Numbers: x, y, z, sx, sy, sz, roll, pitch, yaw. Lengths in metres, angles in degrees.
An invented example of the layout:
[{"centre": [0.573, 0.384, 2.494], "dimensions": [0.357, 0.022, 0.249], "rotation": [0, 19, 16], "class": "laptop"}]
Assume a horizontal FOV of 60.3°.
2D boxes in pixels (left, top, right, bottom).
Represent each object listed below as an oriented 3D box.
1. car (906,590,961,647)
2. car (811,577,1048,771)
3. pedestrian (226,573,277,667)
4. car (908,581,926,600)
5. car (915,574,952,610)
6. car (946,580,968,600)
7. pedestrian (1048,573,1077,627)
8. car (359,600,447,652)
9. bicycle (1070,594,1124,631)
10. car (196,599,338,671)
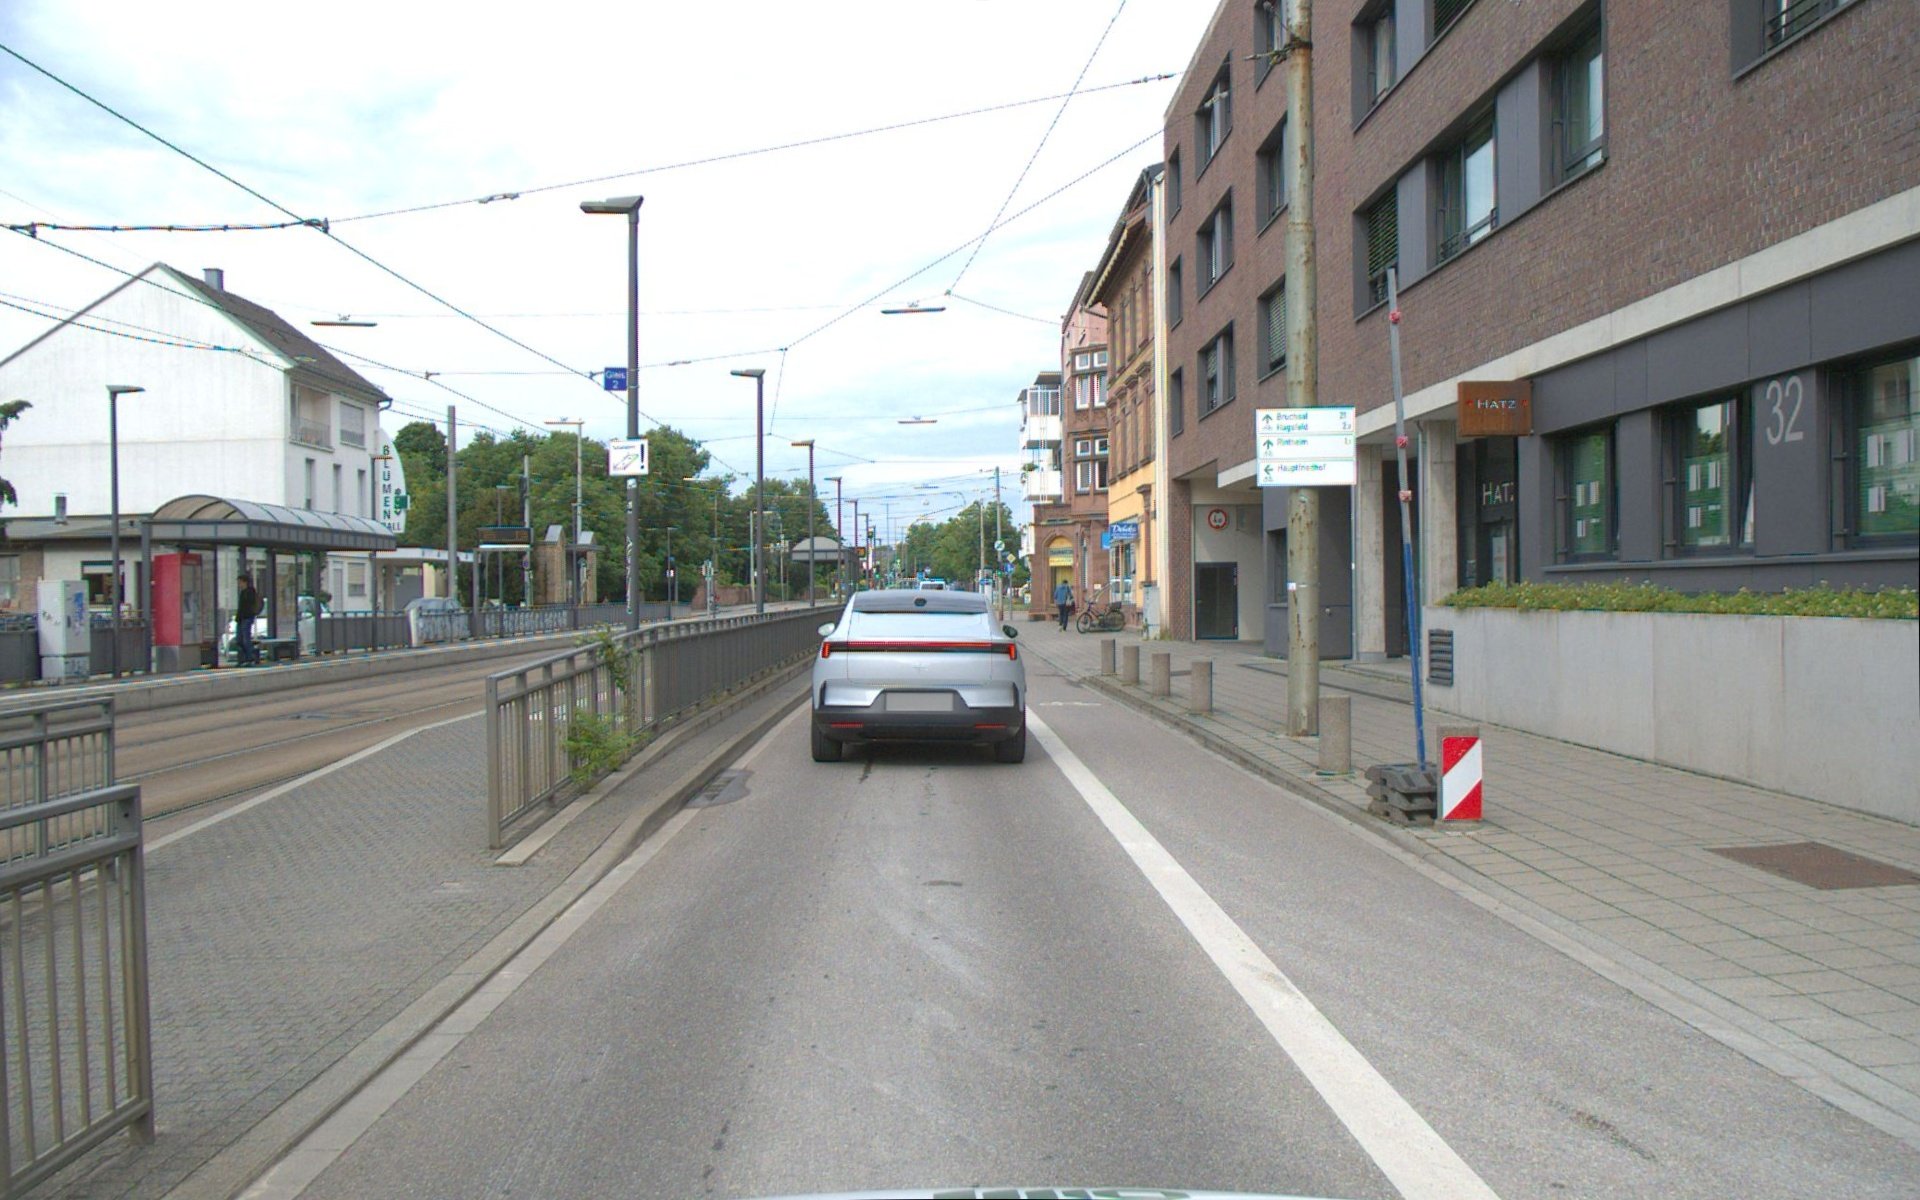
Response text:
[{"centre": [-0.827, 0.558, 51.256], "dimensions": [1.647, 1.717, 3.823], "rotation": [0, 0, -1], "class": "car"}, {"centre": [-0.426, 0.628, 15.783], "dimensions": [1.960, 1.608, 3.995], "rotation": [0, 0, -6], "class": "car"}, {"centre": [-13.078, 0.366, 30.520], "dimensions": [0.607, 1.694, 0.692], "rotation": [0, -1, 44], "class": "pedestrian"}, {"centre": [-4.692, -1.008, 181.534], "dimensions": [1.953, 2.049, 3.999], "rotation": [-1, 0, -1], "class": "car"}, {"centre": [-1.845, -0.525, 113.141], "dimensions": [2.182, 2.444, 5.118], "rotation": [0, 0, -5], "class": "car"}, {"centre": [-0.412, -1.246, 216.338], "dimensions": [2.750, 2.548, 5.721], "rotation": [0, 0, -1], "class": "car"}, {"centre": [3.768, -0.007, 60.886], "dimensions": [0.940, 1.882, 0.976], "rotation": [-3, 1, 5], "class": "pedestrian"}, {"centre": [-16.715, 0.765, 49.818], "dimensions": [1.730, 1.477, 3.993], "rotation": [-1, 0, -7], "class": "car"}, {"centre": [4.712, 0.432, 56.877], "dimensions": [1.742, 1.149, 0.642], "rotation": [-3, 0, -2], "class": "bicycle"}, {"centre": [-16.868, 0.811, 40.459], "dimensions": [1.827, 1.512, 3.998], "rotation": [-3, 1, -2], "class": "car"}]
